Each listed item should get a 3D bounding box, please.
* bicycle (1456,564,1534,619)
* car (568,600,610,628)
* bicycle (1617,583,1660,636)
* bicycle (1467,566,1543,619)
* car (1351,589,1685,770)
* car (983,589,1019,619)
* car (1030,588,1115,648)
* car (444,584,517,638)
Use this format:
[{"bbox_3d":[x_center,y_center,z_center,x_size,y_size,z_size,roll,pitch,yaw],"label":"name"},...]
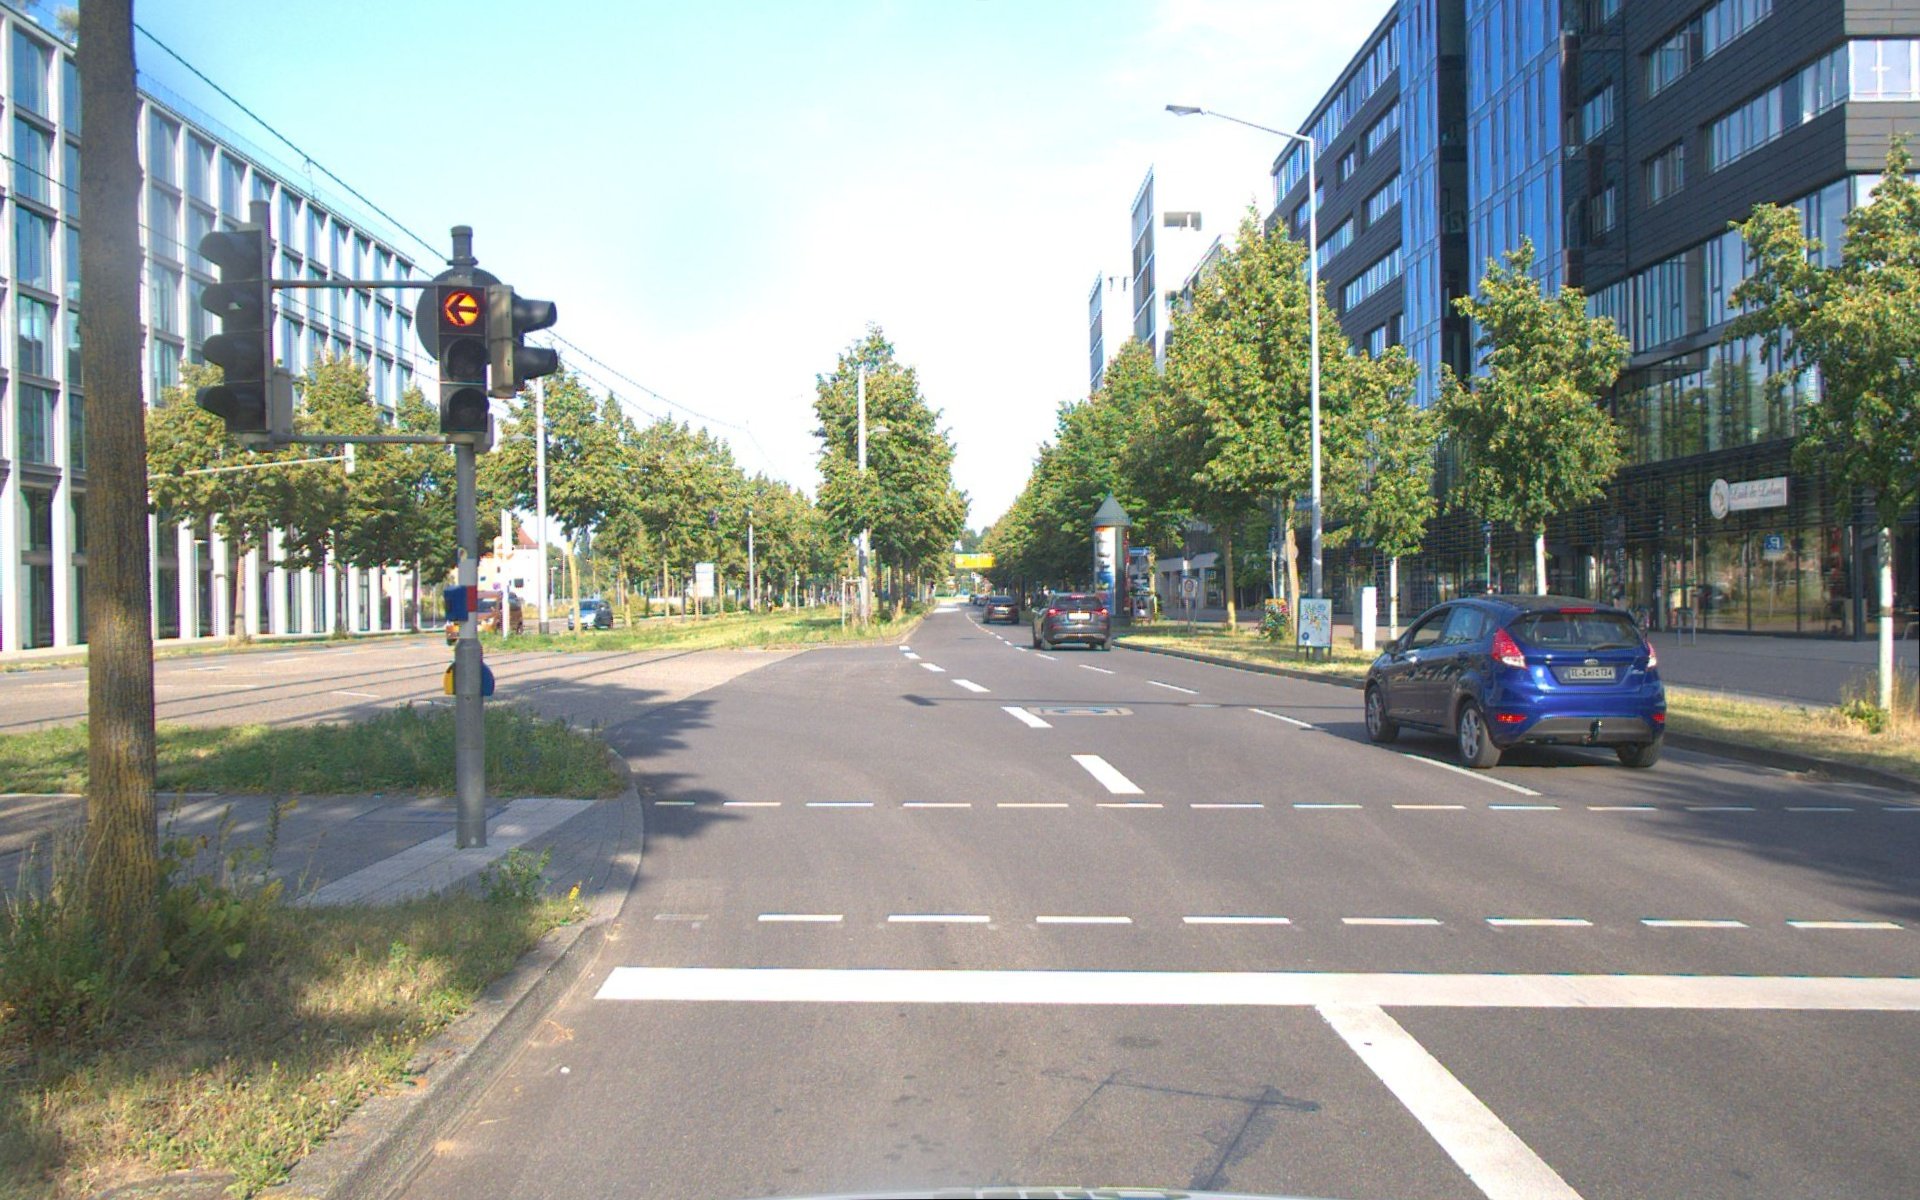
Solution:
[{"bbox_3d":[18.674,-0.303,57.751,2.510,1.890,0.570,1,0,9],"label":"bicycle"},{"bbox_3d":[-19.922,0.741,88.897,1.606,1.468,3.953,1,0,-4],"label":"car"},{"bbox_3d":[17.953,0.243,43.808,0.365,1.370,1.894,1,-1,0],"label":"bicycle"},{"bbox_3d":[18.652,-0.274,56.649,2.383,1.776,0.554,1,0,9],"label":"bicycle"},{"bbox_3d":[5.038,0.641,15.489,1.529,1.449,3.904,1,1,-5],"label":"car"},{"bbox_3d":[2.147,0.223,87.520,1.822,1.551,3.785,1,0,0],"label":"car"},{"bbox_3d":[2.879,0.453,42.933,1.739,1.449,3.958,1,0,-3],"label":"car"},{"bbox_3d":[-16.691,0.373,57.715,1.651,1.806,3.879,1,0,-4],"label":"car"}]
